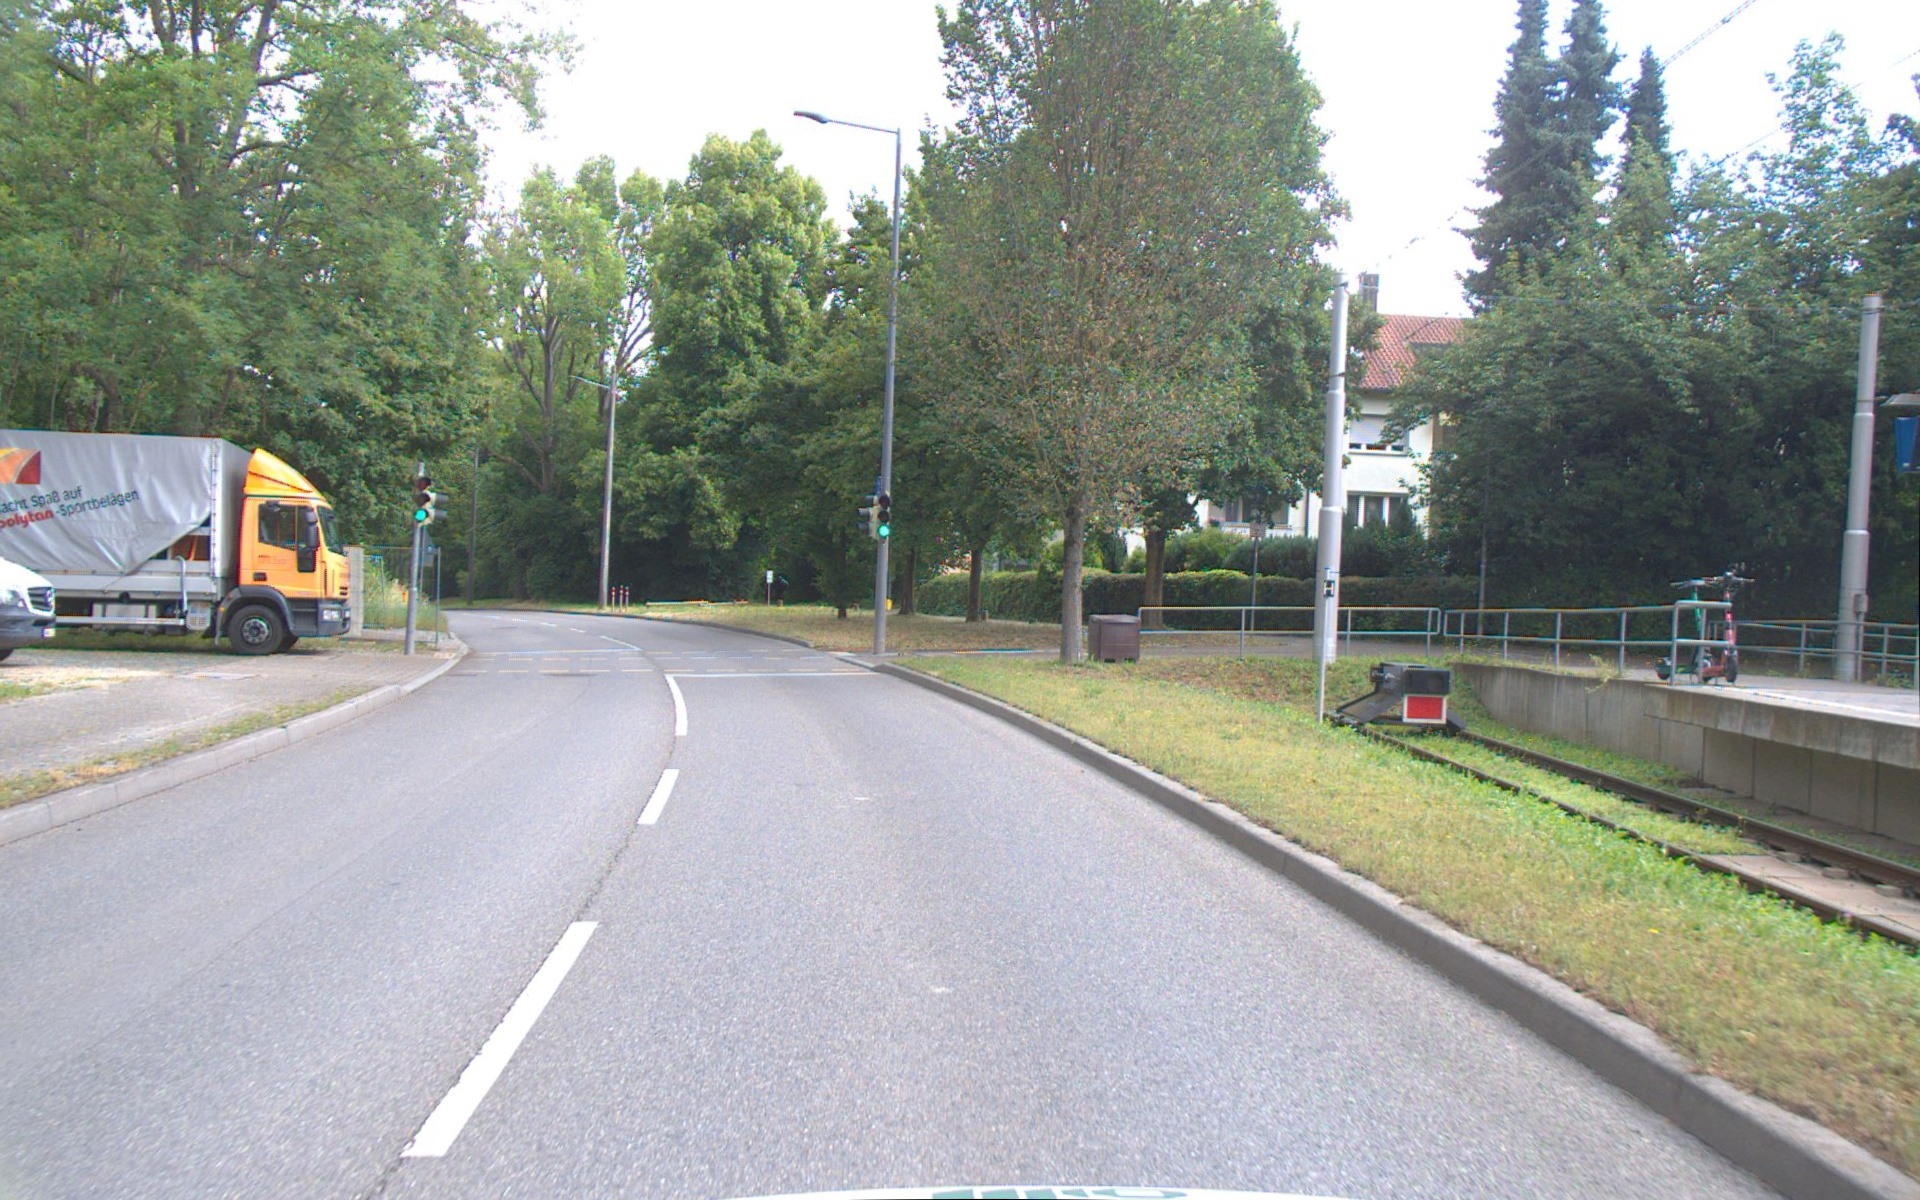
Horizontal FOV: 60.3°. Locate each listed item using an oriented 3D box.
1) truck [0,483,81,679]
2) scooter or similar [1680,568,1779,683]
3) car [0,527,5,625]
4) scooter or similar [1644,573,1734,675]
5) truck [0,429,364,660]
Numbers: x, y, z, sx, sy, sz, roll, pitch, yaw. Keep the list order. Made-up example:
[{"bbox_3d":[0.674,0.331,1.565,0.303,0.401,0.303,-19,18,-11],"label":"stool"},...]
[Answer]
[{"bbox_3d":[-15.044,-0.382,21.130,6.281,2.458,2.115,3,-1,-16],"label":"truck"},{"bbox_3d":[8.807,0.291,18.970,0.422,1.275,1.252,1,-1,-8],"label":"scooter or similar"},{"bbox_3d":[-16.311,-0.232,23.892,3.921,1.942,1.775,3,0,-15],"label":"car"},{"bbox_3d":[9.376,0.307,21.303,0.422,1.275,1.251,1,-1,-11],"label":"scooter or similar"},{"bbox_3d":[-15.114,-0.938,28.005,9.072,3.593,2.556,2,0,-14],"label":"truck"}]
